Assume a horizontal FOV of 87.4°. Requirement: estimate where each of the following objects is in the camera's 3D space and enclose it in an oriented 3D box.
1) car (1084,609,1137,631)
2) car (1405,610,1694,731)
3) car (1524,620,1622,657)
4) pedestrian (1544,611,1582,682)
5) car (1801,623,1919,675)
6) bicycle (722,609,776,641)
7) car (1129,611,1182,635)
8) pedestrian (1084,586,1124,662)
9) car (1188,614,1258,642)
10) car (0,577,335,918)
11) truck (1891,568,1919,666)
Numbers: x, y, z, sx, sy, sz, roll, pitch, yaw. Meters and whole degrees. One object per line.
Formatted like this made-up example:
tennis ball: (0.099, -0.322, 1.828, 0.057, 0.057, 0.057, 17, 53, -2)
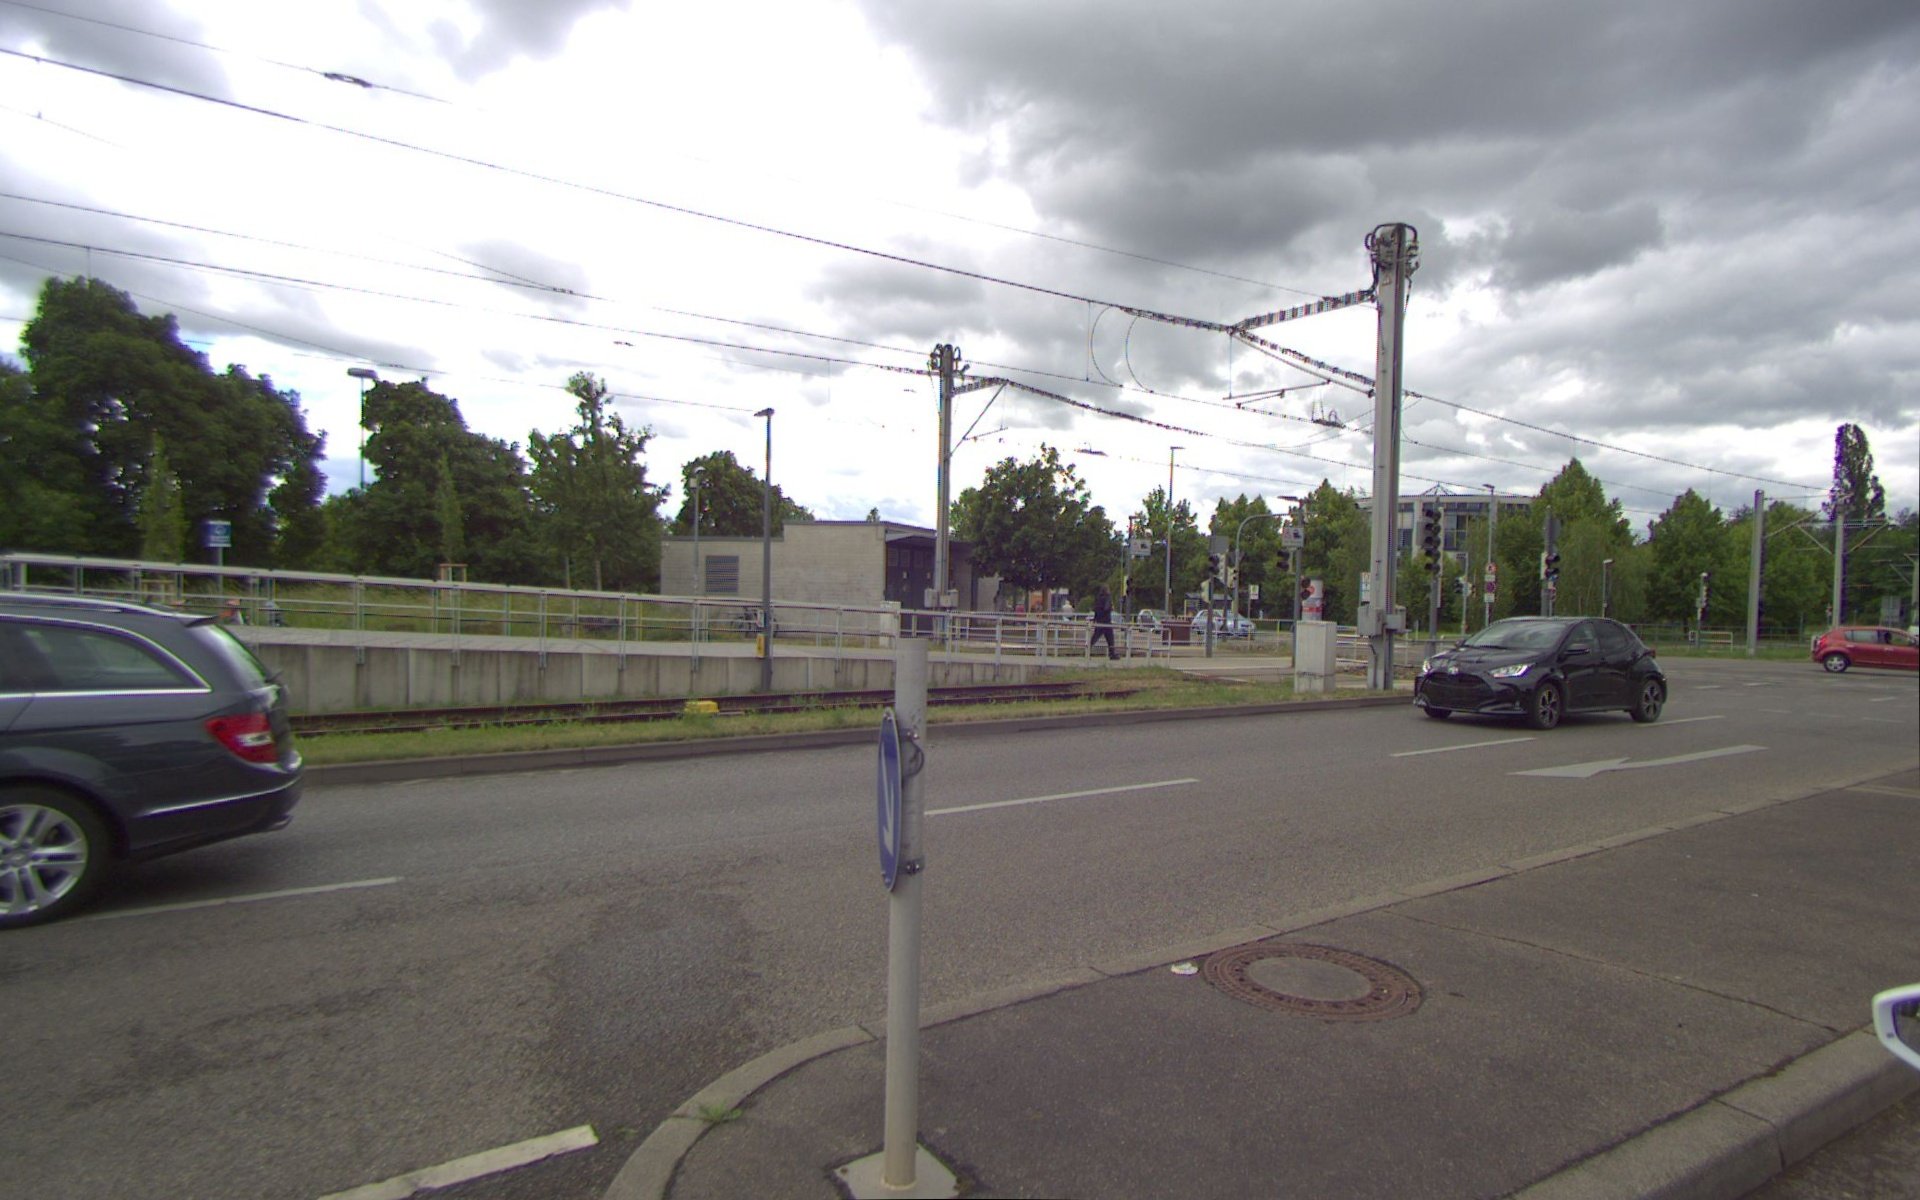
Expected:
car: (9.666, 1.253, 64.599, 1.698, 1.327, 3.729, 1, 0, -22)
car: (8.341, 0.914, 14.191, 3.885, 1.516, 1.589, 1, 0, -25)
car: (27.692, 1.719, 45.419, 3.685, 1.528, 1.775, -1, 1, 36)
pedestrian: (13.692, 1.050, 22.810, 0.640, 1.577, 0.354, -1, 1, 4)
car: (29.741, 1.584, 32.352, 3.945, 1.536, 1.722, 1, -2, 44)
bicycle: (-7.010, 0.825, 33.371, 1.762, 1.029, 0.411, 1, 1, 18)
car: (11.603, 1.338, 59.676, 1.530, 1.327, 3.276, 1, 0, -22)
pedestrian: (3.569, 0.593, 24.881, 0.785, 1.852, 0.568, 1, 1, -33)
car: (13.957, 1.468, 53.468, 1.496, 1.395, 3.979, 1, 0, -22)
car: (-5.423, 0.618, 4.408, 4.499, 1.458, 1.680, 1, 0, -35)
truck: (40.958, 0.763, 39.426, 9.362, 3.698, 2.655, 1, 1, -22)
